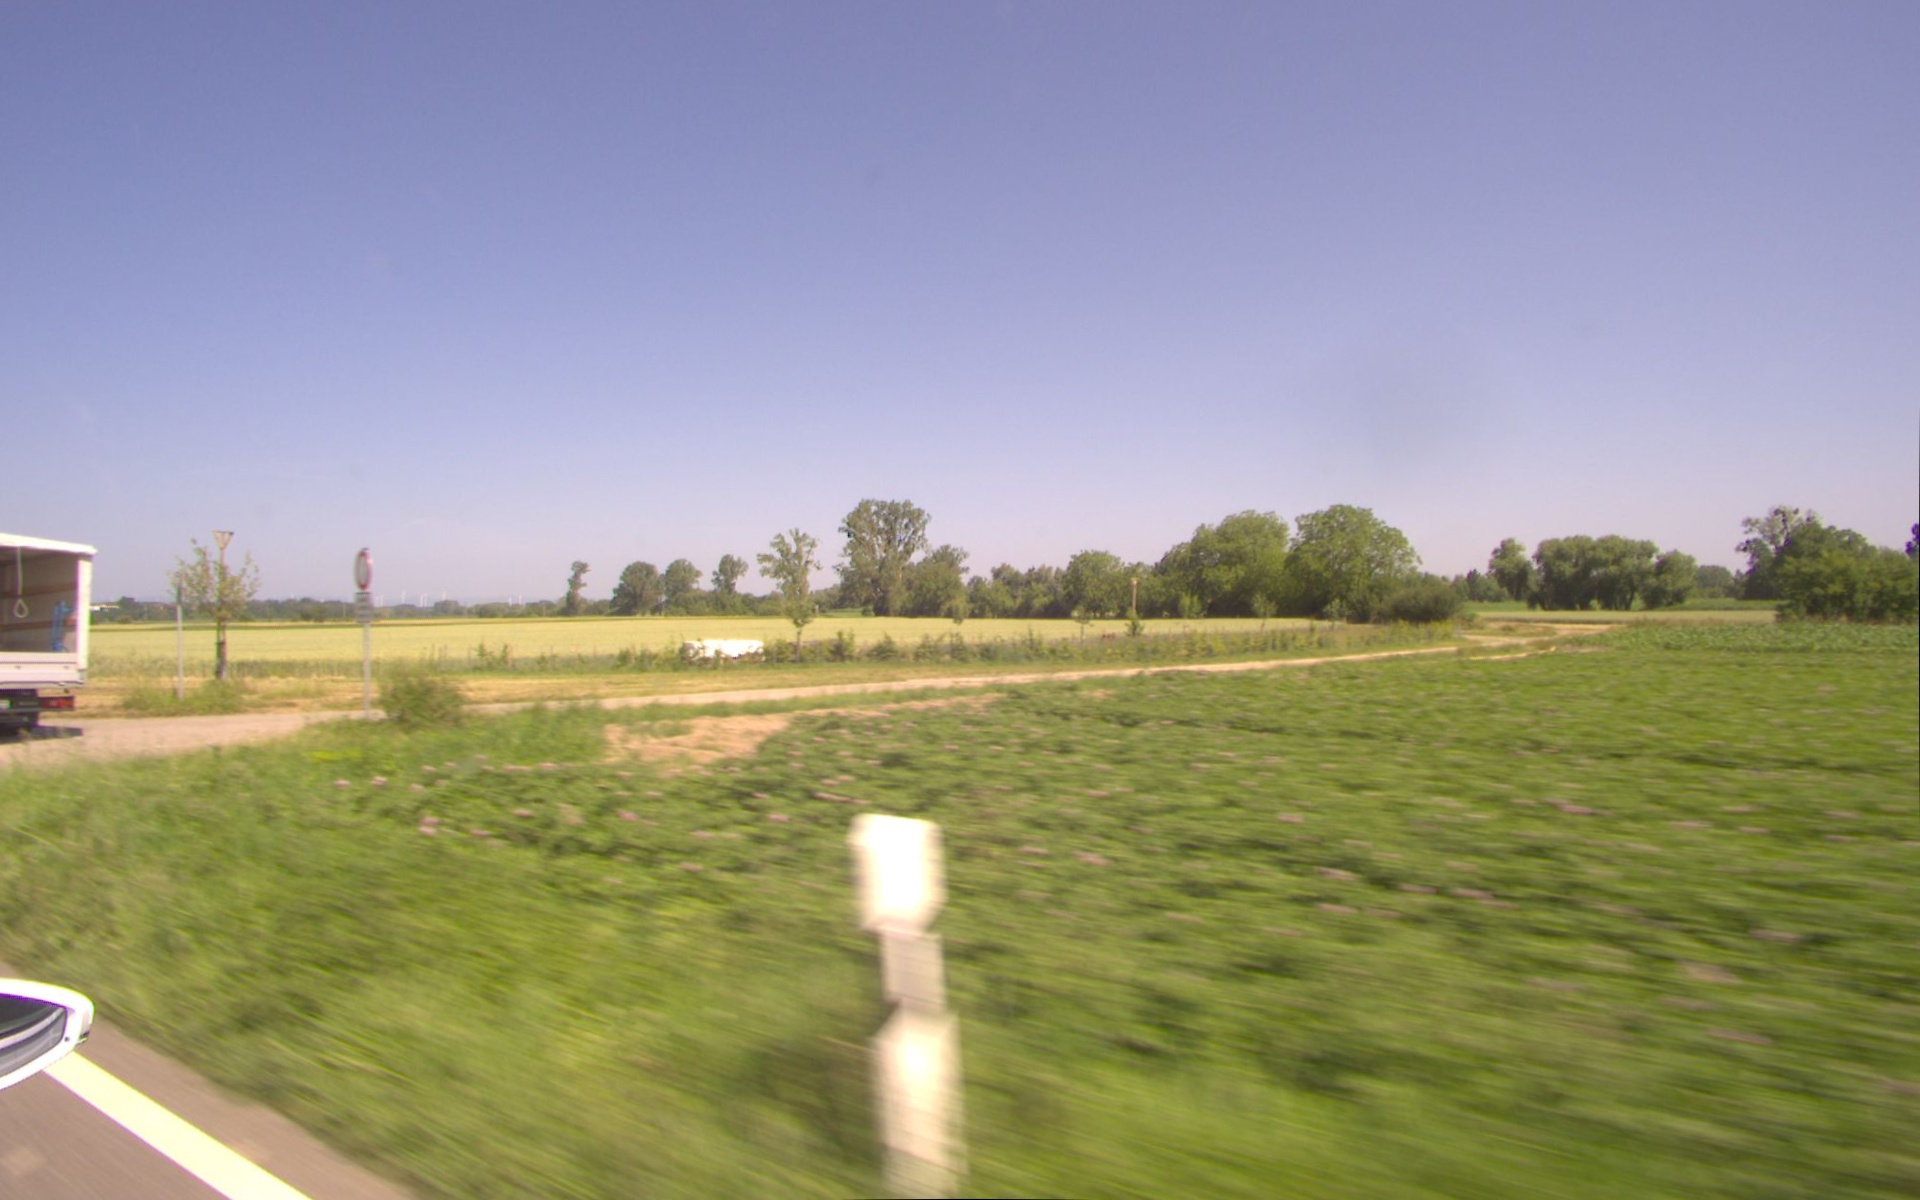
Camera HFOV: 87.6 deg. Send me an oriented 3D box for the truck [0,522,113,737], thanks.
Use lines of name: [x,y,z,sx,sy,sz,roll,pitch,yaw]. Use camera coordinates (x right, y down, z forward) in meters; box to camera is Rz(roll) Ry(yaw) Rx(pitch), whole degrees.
truck: [-16.293,0.465,15.768,6.906,2.978,2.334,-1,-3,31]

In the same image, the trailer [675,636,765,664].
trailer: [-10.556,2.192,44.188,1.647,1.204,3.565,-1,-3,44]

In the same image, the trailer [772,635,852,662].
trailer: [-7.020,2.264,47.555,1.647,1.204,3.517,-2,-2,44]
